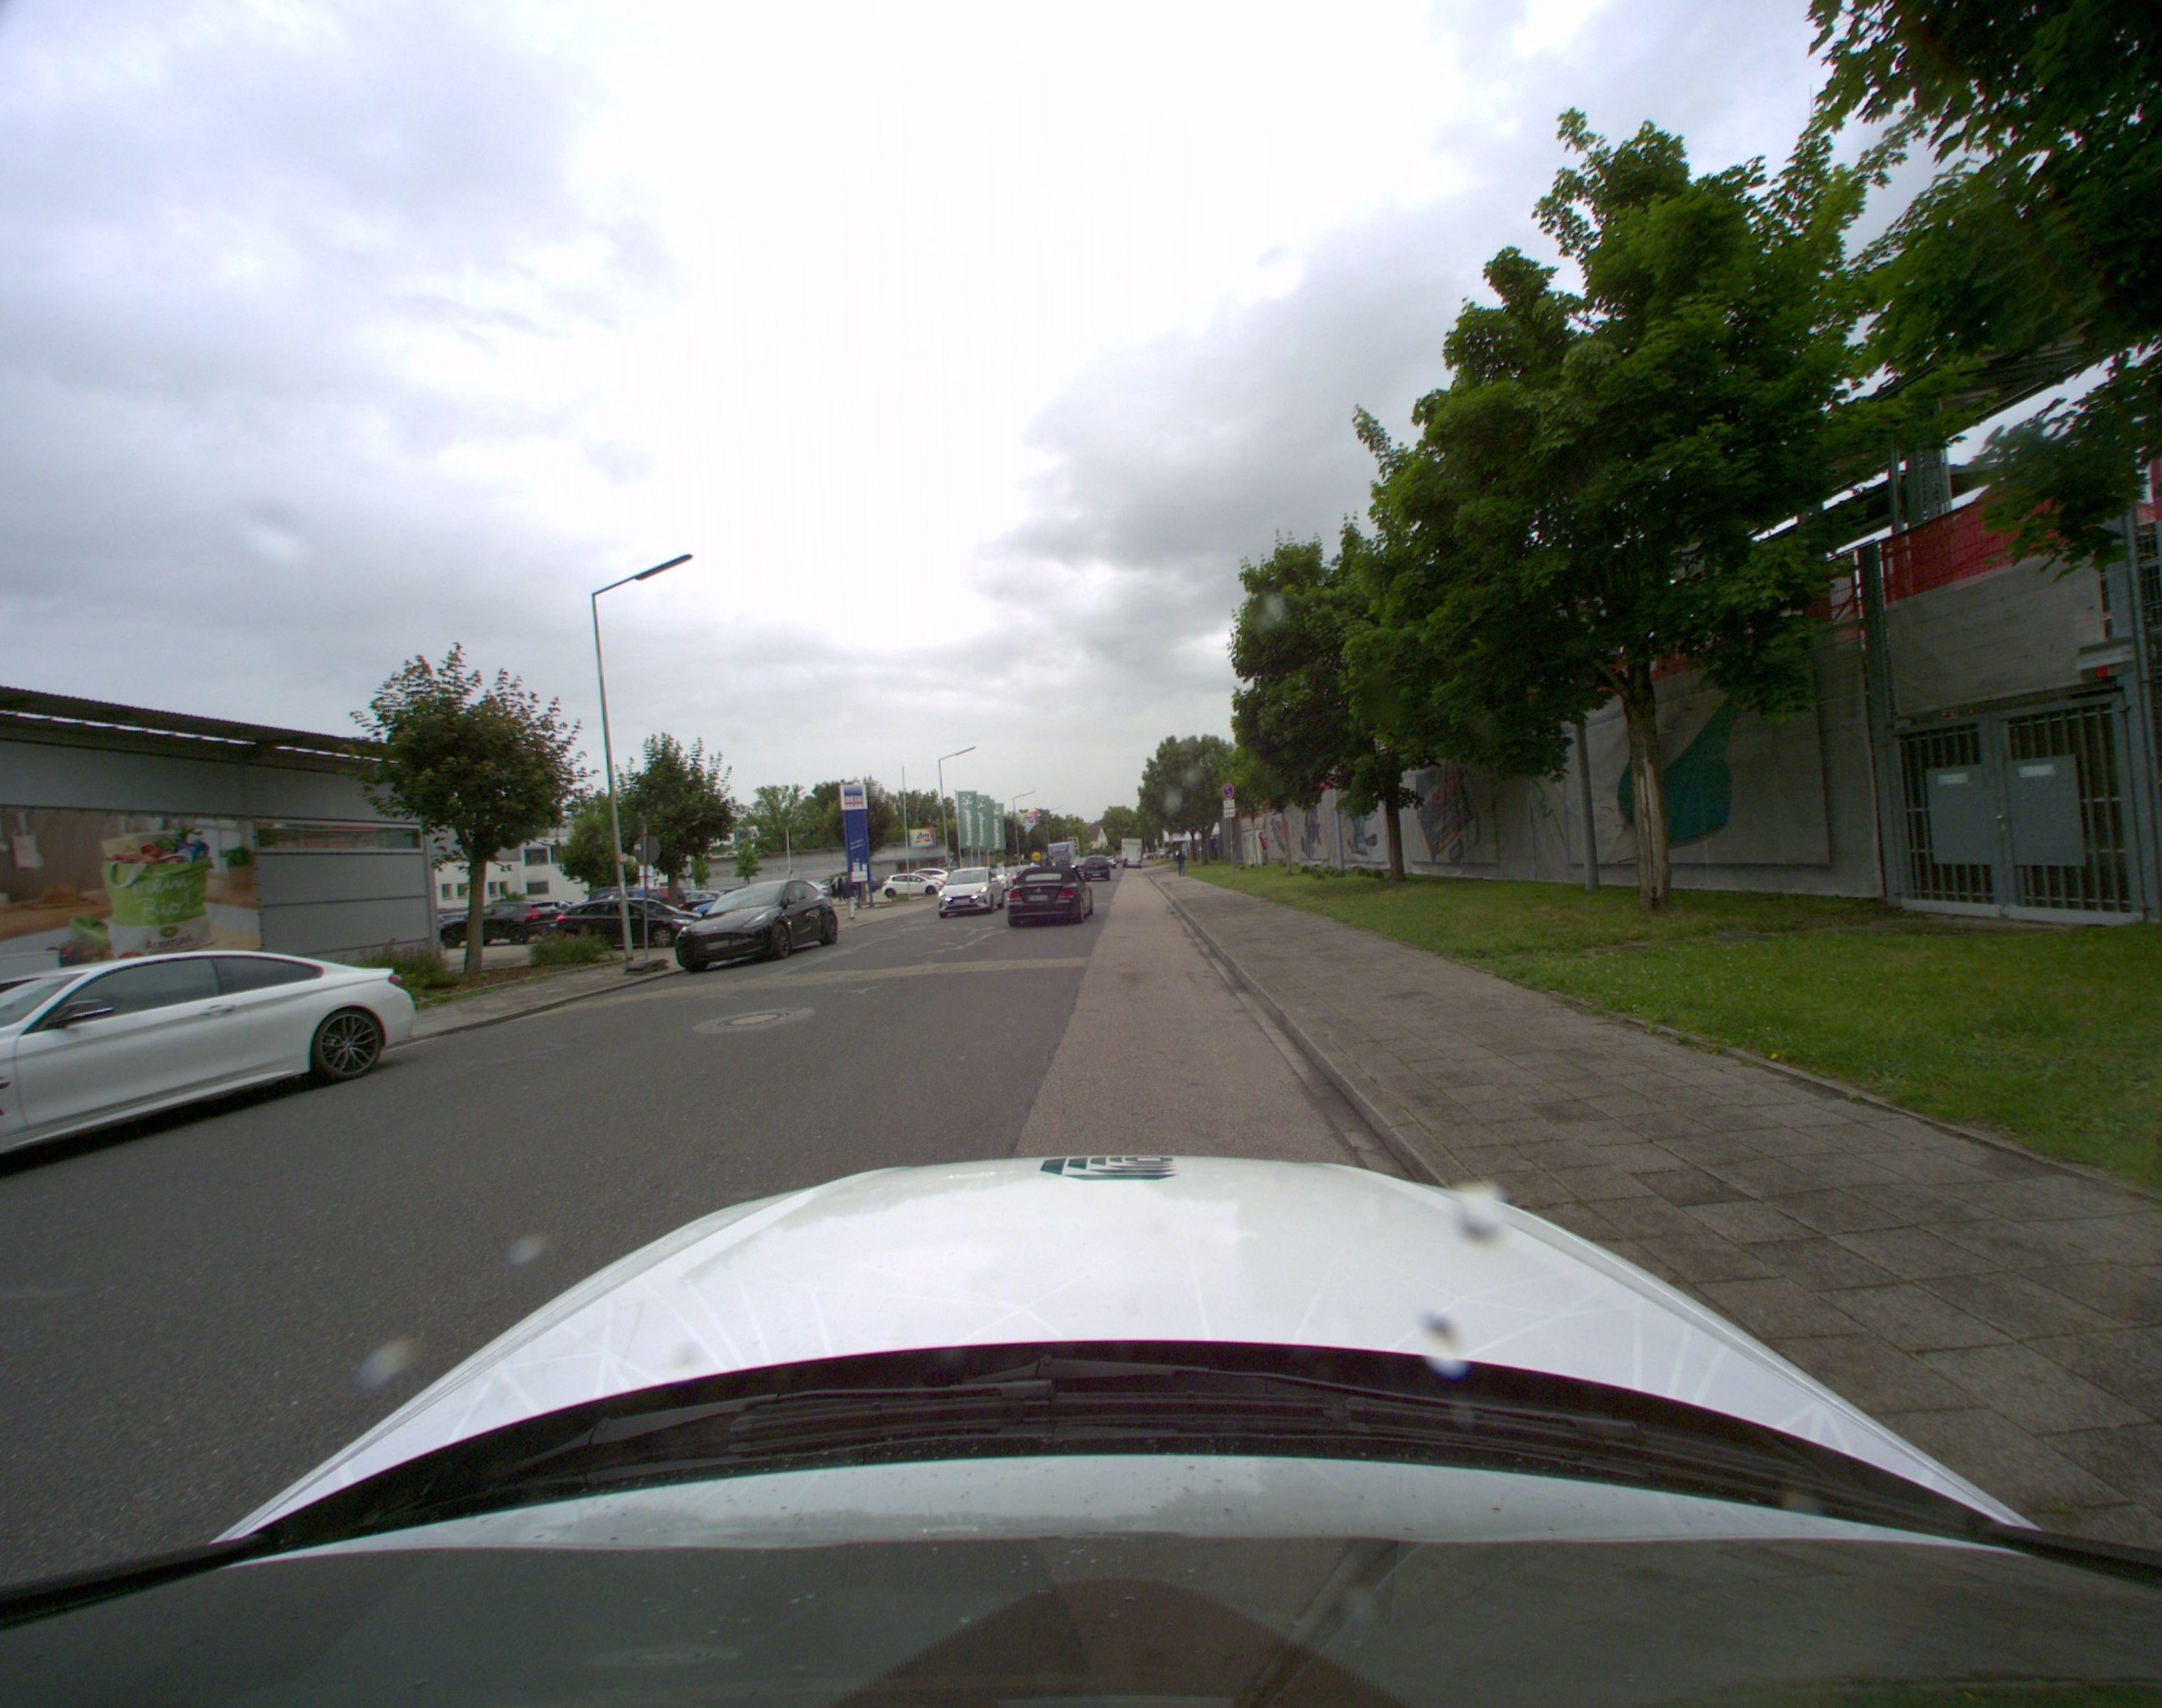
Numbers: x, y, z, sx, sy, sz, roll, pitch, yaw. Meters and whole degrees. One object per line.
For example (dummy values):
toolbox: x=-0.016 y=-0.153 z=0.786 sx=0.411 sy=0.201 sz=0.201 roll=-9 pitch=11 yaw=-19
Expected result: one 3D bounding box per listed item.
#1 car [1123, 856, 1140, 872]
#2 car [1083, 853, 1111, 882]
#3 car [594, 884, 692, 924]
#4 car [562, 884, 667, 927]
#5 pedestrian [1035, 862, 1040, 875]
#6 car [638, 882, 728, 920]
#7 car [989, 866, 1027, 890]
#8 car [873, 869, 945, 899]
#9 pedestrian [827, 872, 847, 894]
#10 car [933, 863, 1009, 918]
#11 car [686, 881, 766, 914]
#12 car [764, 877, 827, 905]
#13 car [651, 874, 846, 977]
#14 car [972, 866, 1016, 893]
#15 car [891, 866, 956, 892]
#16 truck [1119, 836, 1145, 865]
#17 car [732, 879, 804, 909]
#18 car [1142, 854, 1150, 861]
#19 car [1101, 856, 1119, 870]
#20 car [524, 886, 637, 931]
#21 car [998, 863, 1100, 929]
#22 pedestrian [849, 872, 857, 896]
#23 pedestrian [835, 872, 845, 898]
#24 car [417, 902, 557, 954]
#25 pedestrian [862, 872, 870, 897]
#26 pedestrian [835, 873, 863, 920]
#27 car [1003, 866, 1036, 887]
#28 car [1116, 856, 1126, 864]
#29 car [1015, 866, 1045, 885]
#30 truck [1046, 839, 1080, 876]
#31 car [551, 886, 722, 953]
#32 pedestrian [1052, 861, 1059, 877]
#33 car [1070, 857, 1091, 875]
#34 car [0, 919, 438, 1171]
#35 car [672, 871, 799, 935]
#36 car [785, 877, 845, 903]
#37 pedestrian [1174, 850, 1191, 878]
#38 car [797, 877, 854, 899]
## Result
car: x=6.183 y=1.207 z=99.984 sx=1.986 sy=1.806 sz=4.002 roll=-3 pitch=-1 yaw=2
car: x=1.013 y=0.858 z=52.459 sx=1.675 sy=1.632 sz=3.759 roll=-5 pitch=0 yaw=0
car: x=-22.816 y=2.586 z=42.503 sx=3.970 sy=1.669 sz=1.878 roll=-5 pitch=-1 yaw=3
car: x=-22.866 y=2.510 z=40.030 sx=3.970 sy=1.669 sz=1.878 roll=-5 pitch=-1 yaw=3
pedestrian: x=-5.233 y=1.800 z=98.311 sx=0.401 sy=1.531 sz=0.485 roll=-5 pitch=-1 yaw=-3
car: x=-22.040 y=2.590 z=45.175 sx=3.970 sy=1.669 sz=1.878 roll=-5 pitch=-1 yaw=3
car: x=-4.984 y=1.633 z=56.094 sx=1.890 sy=1.367 sz=4.004 roll=-4 pitch=0 yaw=4
car: x=-10.958 y=1.903 z=52.189 sx=4.196 sy=1.463 sz=1.950 roll=-5 pitch=-1 yaw=-5
pedestrian: x=-23.558 y=2.816 z=78.526 sx=1.394 sy=2.013 sz=1.197 roll=-4 pitch=-1 yaw=-37
car: x=-3.501 y=1.123 z=26.486 sx=1.592 sy=1.528 sz=3.532 roll=-6 pitch=-1 yaw=4
car: x=-21.928 y=2.668 z=50.373 sx=3.970 sy=1.669 sz=1.878 roll=-5 pitch=-1 yaw=3
car: x=-21.496 y=2.783 z=61.421 sx=3.970 sy=1.669 sz=1.878 roll=-5 pitch=-1 yaw=3
car: x=-6.702 y=1.356 z=17.041 sx=1.940 sy=1.526 sz=4.404 roll=-8 pitch=-1 yaw=2
car: x=-5.288 y=1.523 z=49.869 sx=1.890 sy=1.367 sz=4.004 roll=-5 pitch=0 yaw=4
car: x=-10.985 y=1.704 z=57.037 sx=4.125 sy=1.463 sz=1.897 roll=-5 pitch=-1 yaw=-2
truck: x=6.806 y=-0.370 z=109.198 sx=3.123 sy=3.585 sz=10.055 roll=-3 pitch=-1 yaw=2
car: x=-21.183 y=2.680 z=55.193 sx=3.970 sy=1.669 sz=1.878 roll=-5 pitch=-1 yaw=3
car: x=17.118 y=0.965 z=214.638 sx=1.878 sy=1.683 sz=4.259 roll=-2 pitch=0 yaw=4
car: x=3.594 y=1.067 z=100.027 sx=1.878 sy=1.531 sz=4.259 roll=-2 pitch=0 yaw=4
car: x=-23.037 y=2.497 z=37.583 sx=3.970 sy=1.669 sz=1.878 roll=-5 pitch=-1 yaw=3
car: x=-0.680 y=0.958 z=20.132 sx=1.736 sy=1.358 sz=4.146 roll=-4 pitch=-1 yaw=8
pedestrian: x=-15.103 y=1.982 z=53.936 sx=0.359 sy=1.570 sz=0.503 roll=-4 pitch=-1 yaw=-7
pedestrian: x=-15.867 y=2.051 z=53.587 sx=0.456 sy=1.642 sz=0.372 roll=-4 pitch=-1 yaw=-14
car: x=-22.699 y=2.782 z=31.327 sx=4.010 sy=1.485 sz=1.859 roll=-4 pitch=0 yaw=-28
pedestrian: x=-14.087 y=1.993 z=53.380 sx=0.329 sy=1.570 sz=0.502 roll=-3 pitch=-1 yaw=-8
pedestrian: x=-8.950 y=1.623 z=31.442 sx=0.773 sy=1.715 sz=0.696 roll=-4 pitch=-1 yaw=-1
car: x=-4.629 y=1.705 z=61.712 sx=1.890 sy=1.367 sz=4.004 roll=-4 pitch=0 yaw=4
car: x=8.070 y=1.119 z=163.459 sx=1.878 sy=1.531 sz=4.259 roll=-2 pitch=0 yaw=4
car: x=-4.202 y=1.778 z=67.603 sx=1.890 sy=1.367 sz=4.004 roll=-4 pitch=0 yaw=4
truck: x=-2.074 y=0.403 z=95.192 sx=2.961 sy=3.955 sz=6.411 roll=-6 pitch=0 yaw=4
car: x=-12.865 y=1.876 z=23.726 sx=3.857 sy=1.620 sz=1.929 roll=-3 pitch=0 yaw=3
pedestrian: x=-2.638 y=1.569 z=84.259 sx=0.628 sy=1.636 sz=0.668 roll=-5 pitch=-1 yaw=2
car: x=-0.023 y=1.204 z=83.920 sx=1.986 sy=1.684 sz=4.002 roll=-3 pitch=-1 yaw=2
car: x=-7.750 y=1.481 z=6.256 sx=1.692 sy=1.367 sz=4.521 roll=-9 pitch=-1 yaw=3
car: x=-13.108 y=1.842 z=31.073 sx=3.922 sy=2.013 sz=1.759 roll=-5 pitch=-1 yaw=-4
car: x=-20.830 y=2.789 z=63.836 sx=3.970 sy=1.669 sz=1.878 roll=-5 pitch=-1 yaw=3
pedestrian: x=6.214 y=0.594 z=49.817 sx=0.914 sy=1.635 sz=0.854 roll=-3 pitch=-1 yaw=5
car: x=-20.853 y=2.768 z=66.659 sx=3.969 sy=1.492 sz=1.788 roll=-4 pitch=-1 yaw=4
